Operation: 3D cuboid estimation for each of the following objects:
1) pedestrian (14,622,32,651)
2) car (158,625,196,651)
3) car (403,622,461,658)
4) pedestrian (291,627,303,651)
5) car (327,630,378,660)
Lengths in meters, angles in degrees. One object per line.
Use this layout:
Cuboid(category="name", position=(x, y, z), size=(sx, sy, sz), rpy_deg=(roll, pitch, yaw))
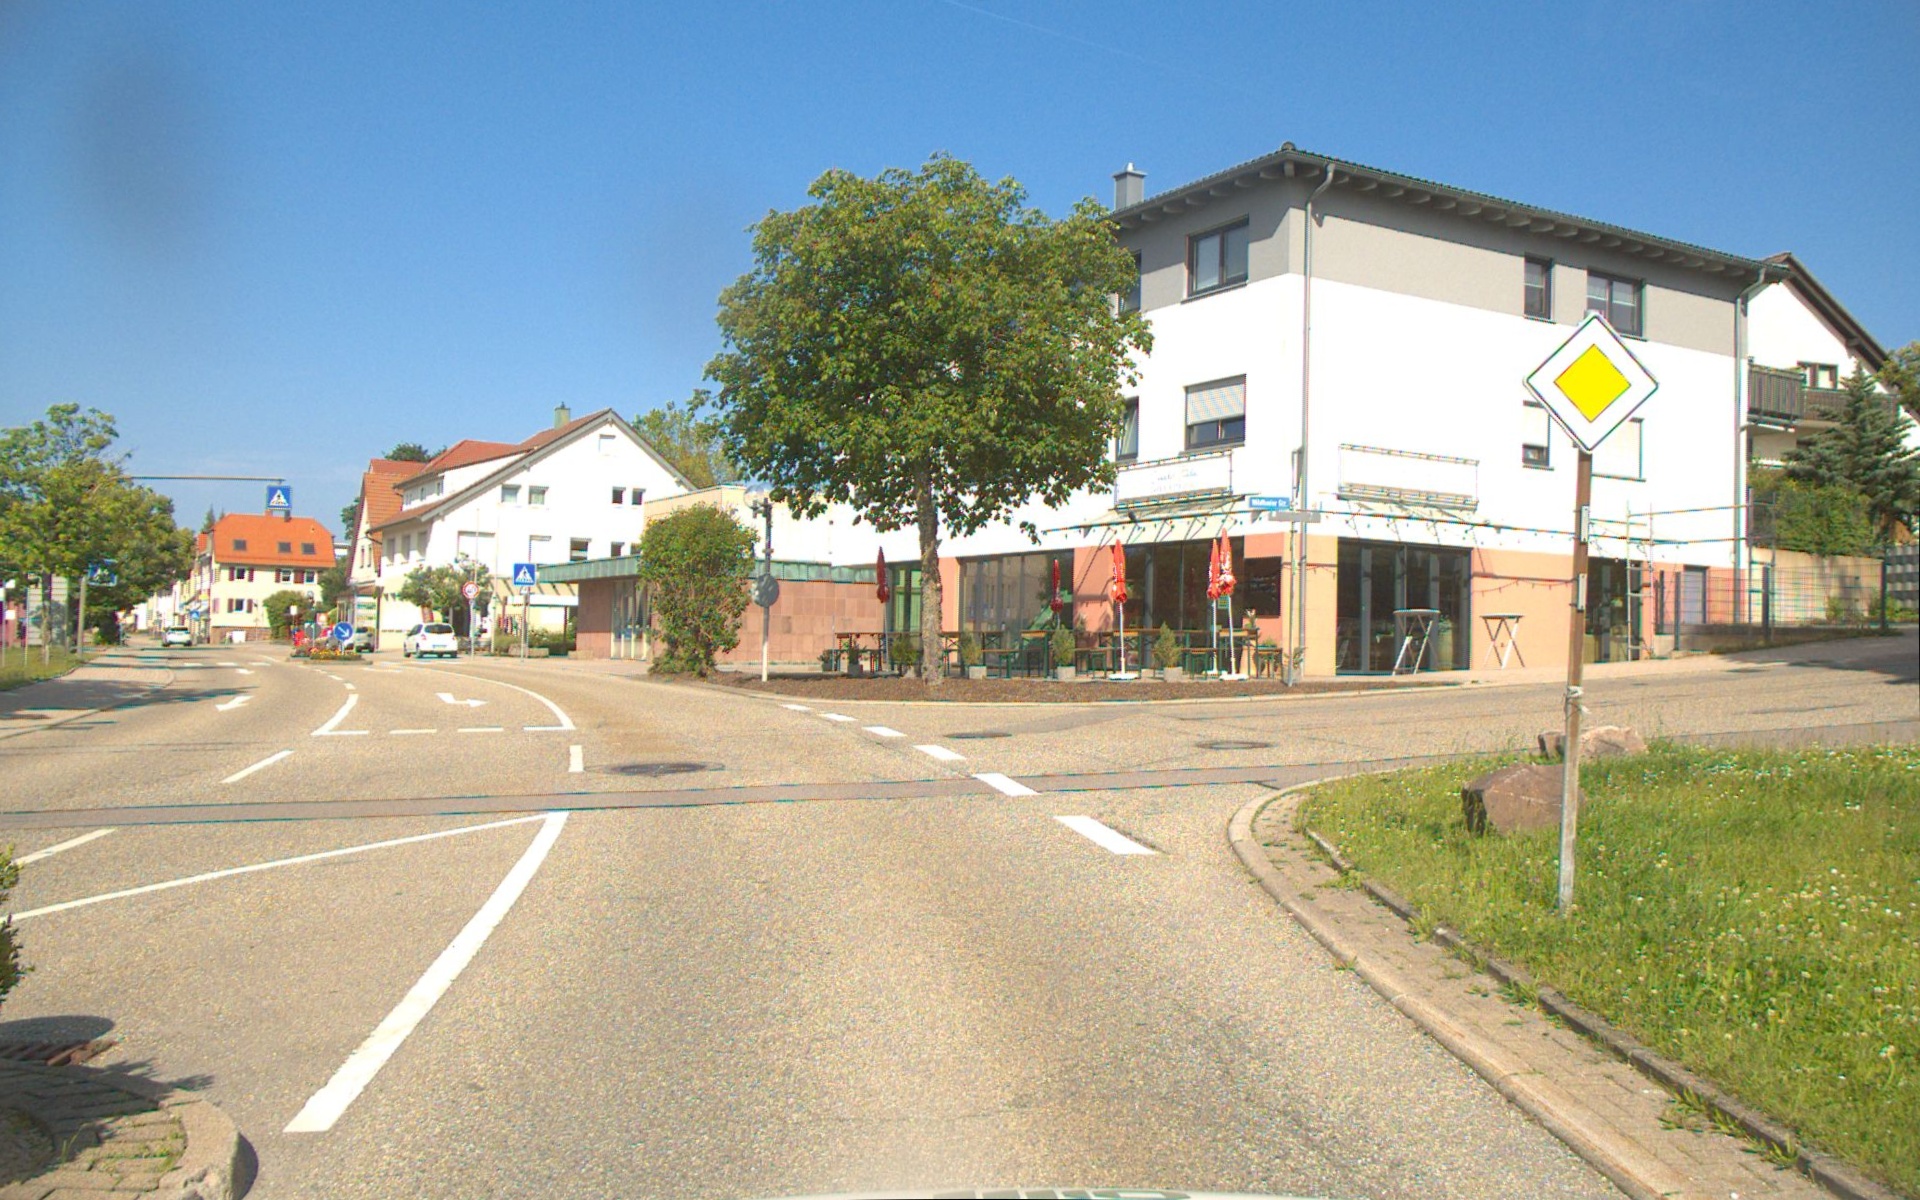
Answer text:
Cuboid(category="pedestrian", position=(-42.103, 1.656, 74.316), size=(0.623, 1.275, 0.419), rpy_deg=(-1, -1, -33))
Cuboid(category="car", position=(-66.257, 3.223, 139.897), size=(2.470, 2.049, 4.259), rpy_deg=(-2, -1, -31))
Cuboid(category="car", position=(-22.427, 1.679, 70.230), size=(1.740, 1.448, 3.600), rpy_deg=(-1, -1, -28))
Cuboid(category="pedestrian", position=(-50.185, 2.961, 125.188), size=(0.789, 1.816, 0.971), rpy_deg=(0, -1, -25))
Cuboid(category="car", position=(-31.621, 2.335, 86.089), size=(1.621, 1.444, 3.889), rpy_deg=(-1, -1, -34))
